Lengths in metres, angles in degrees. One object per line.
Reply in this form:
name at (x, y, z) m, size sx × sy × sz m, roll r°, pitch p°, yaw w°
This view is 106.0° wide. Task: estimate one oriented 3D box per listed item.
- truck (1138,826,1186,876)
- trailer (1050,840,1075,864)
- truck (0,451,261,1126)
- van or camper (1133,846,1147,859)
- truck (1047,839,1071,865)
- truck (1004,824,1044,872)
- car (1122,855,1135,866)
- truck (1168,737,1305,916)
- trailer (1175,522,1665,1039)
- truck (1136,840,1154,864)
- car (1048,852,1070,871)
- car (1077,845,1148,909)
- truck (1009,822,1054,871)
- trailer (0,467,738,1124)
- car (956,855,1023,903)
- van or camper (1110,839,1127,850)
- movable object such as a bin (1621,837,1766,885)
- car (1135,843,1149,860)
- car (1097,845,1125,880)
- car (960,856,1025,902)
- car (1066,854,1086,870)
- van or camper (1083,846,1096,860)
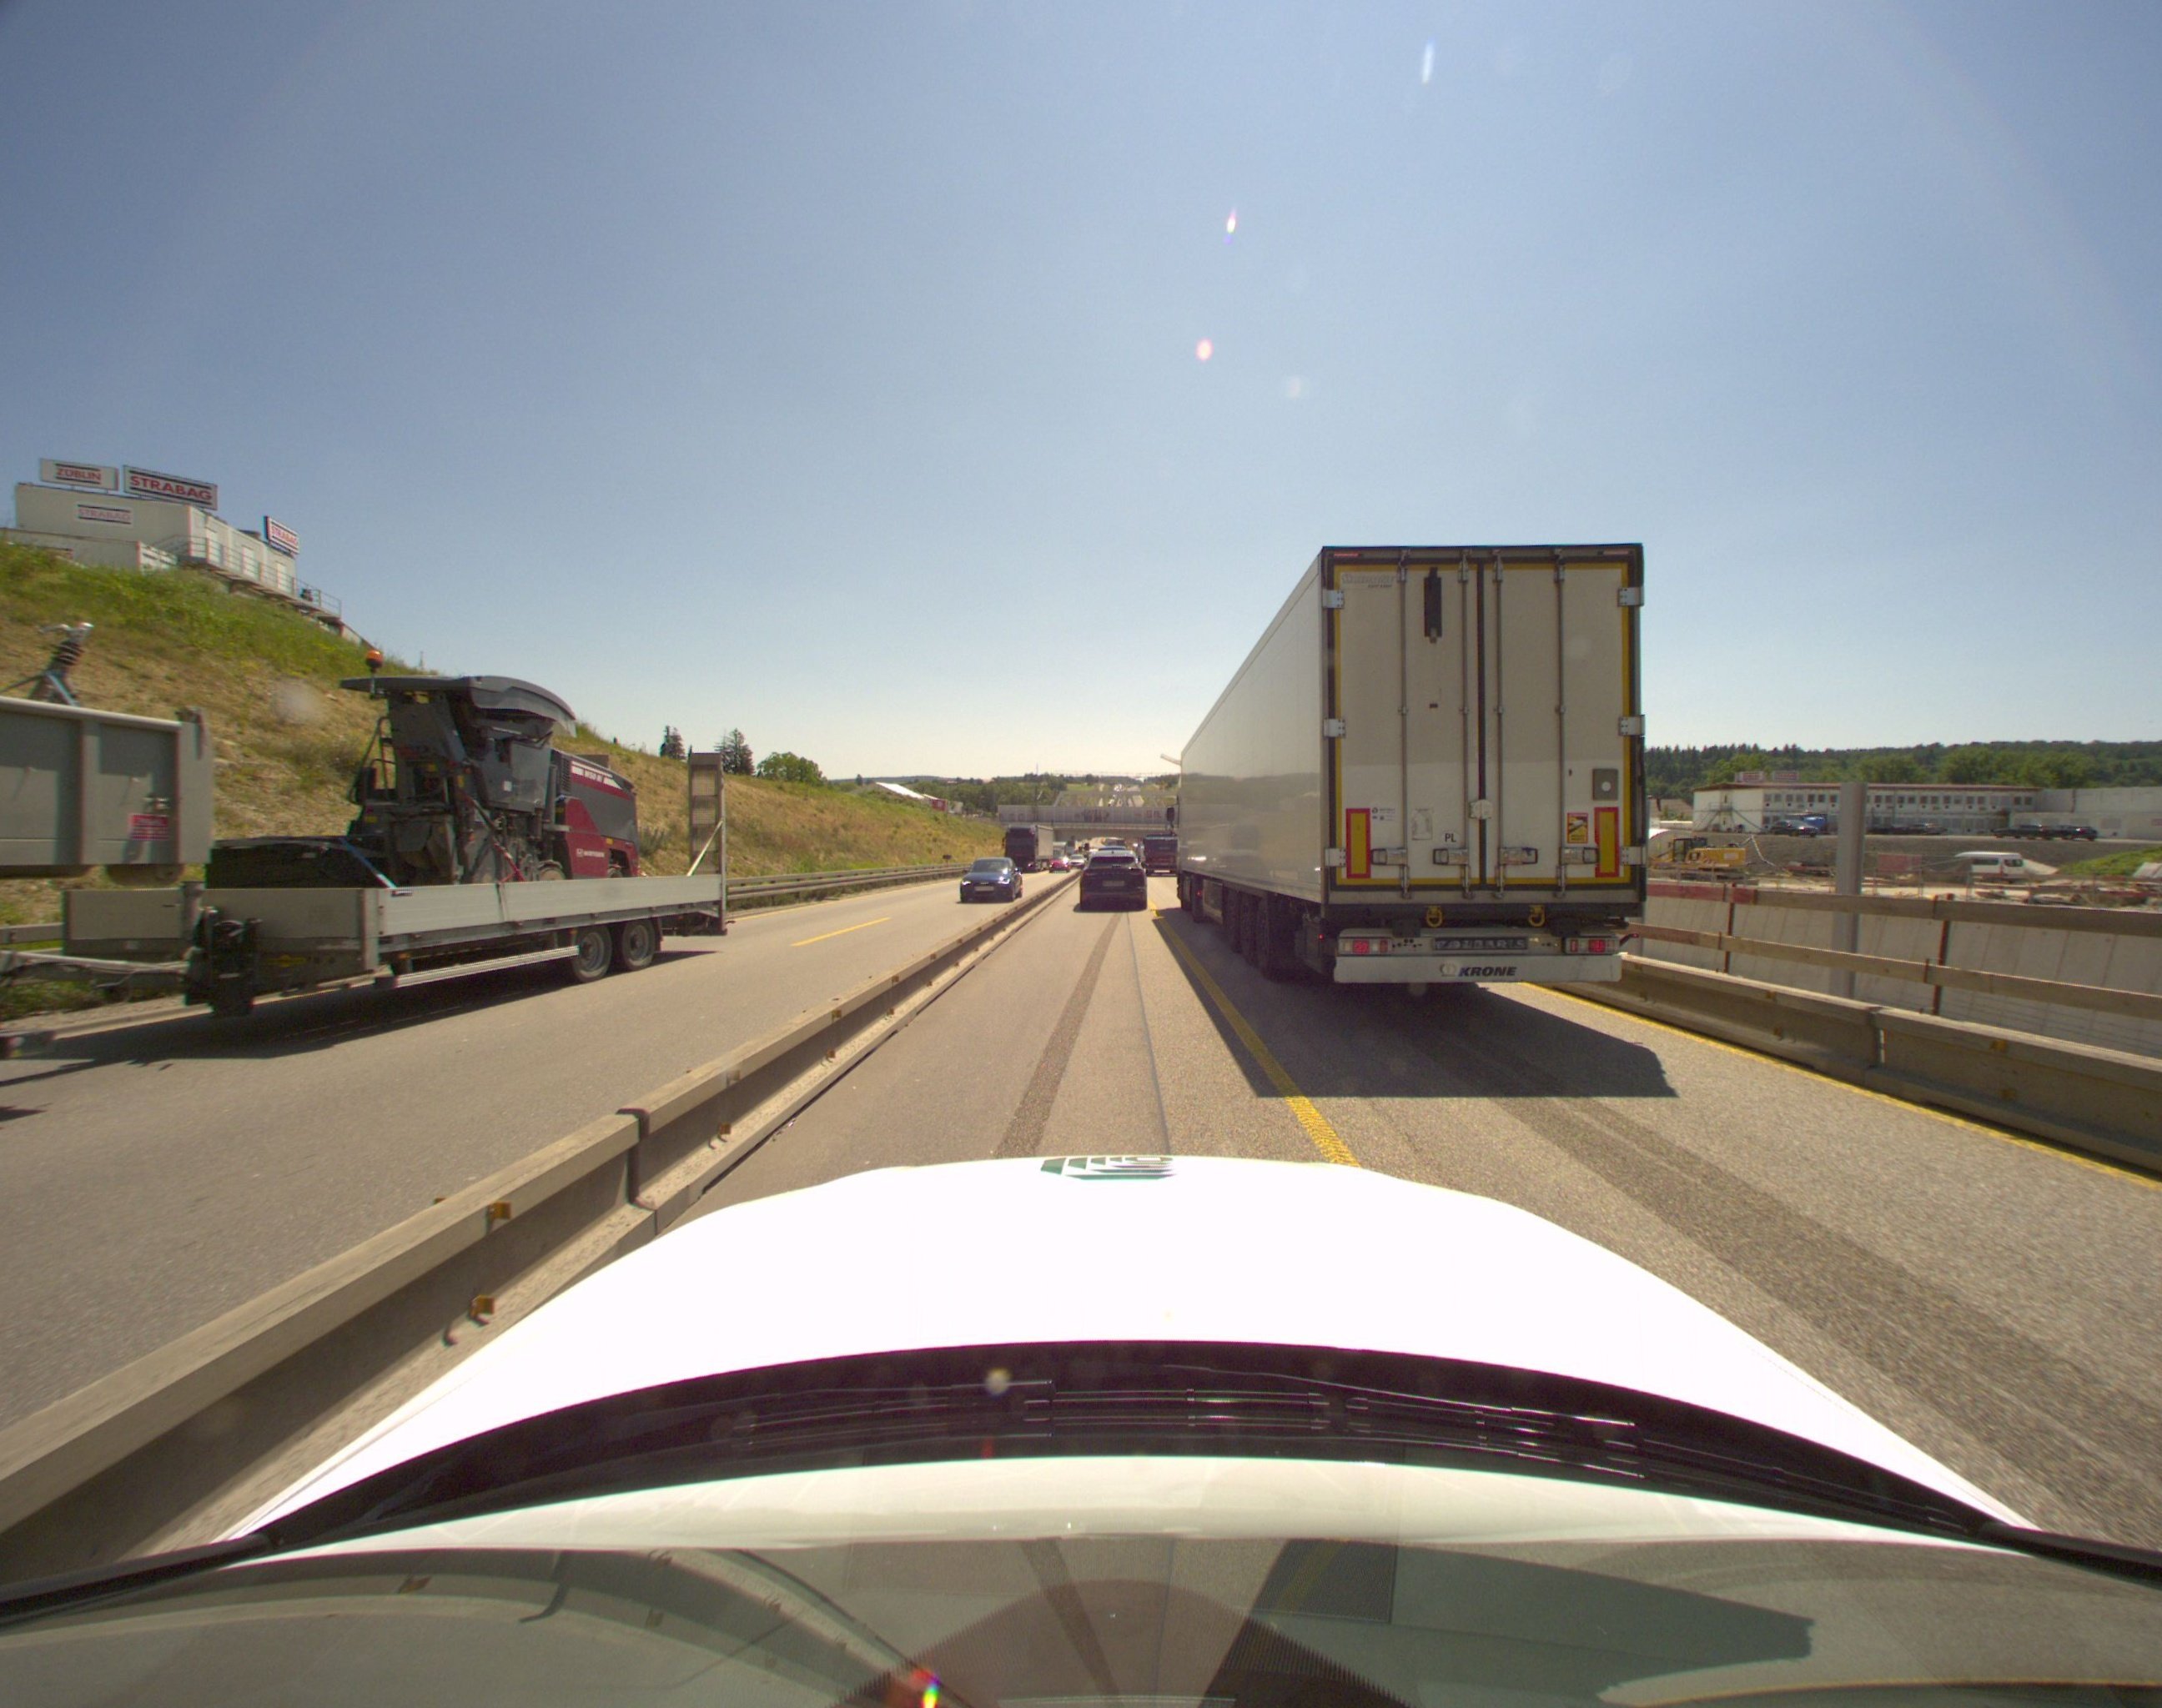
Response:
truck at (5.566, -0.191, 57.980) m, size 2.802 × 3.135 × 12.847 m, roll 0°, pitch 0°, yaw 3°
trailer at (-2.177, -0.221, 101.129) m, size 2.259 × 2.882 × 13.050 m, roll 0°, pitch 0°, yaw 2°
truck at (-7.374, -0.344, 1.218) m, size 2.577 × 3.723 × 9.337 m, roll -1°, pitch 0°, yaw 2°
van or camper at (16.037, -0.490, 221.785) m, size 3.926 × 3.419 × 8.414 m, roll 0°, pitch 1°, yaw 3°
truck at (-2.484, -0.235, 93.933) m, size 2.259 × 2.882 × 5.855 m, roll 0°, pitch 0°, yaw 2°
truck at (-4.643, -0.477, 67.496) m, size 2.756 × 3.884 × 4.966 m, roll 0°, pitch 0°, yaw 2°
car at (5.743, 0.761, 98.586) m, size 1.486 × 1.330 × 3.244 m, roll 1°, pitch 0°, yaw 1°
truck at (3.801, -0.614, 21.016) m, size 2.766 × 4.058 × 4.907 m, roll 0°, pitch 0°, yaw 2°
trailer at (3.474, -0.571, 13.489) m, size 2.790 × 4.058 × 14.125 m, roll 0°, pitch 0°, yaw 2°
truck at (11.918, -0.420, 152.655) m, size 3.162 × 4.318 × 9.265 m, roll 0°, pitch 0°, yaw 3°
car at (-1.785, 0.623, 67.028) m, size 1.584 × 1.487 × 3.297 m, roll -1°, pitch 0°, yaw 2°
car at (0.880, 0.586, 22.696) m, size 1.793 × 1.620 × 3.299 m, roll -1°, pitch 1°, yaw 2°
truck at (-4.338, -0.596, 74.946) m, size 2.756 × 4.087 × 13.813 m, roll 0°, pitch 0°, yaw 2°
trailer at (-7.101, -0.329, 8.828) m, size 2.577 × 3.637 × 9.083 m, roll -1°, pitch 0°, yaw 2°
car at (-2.905, 0.765, 26.559) m, size 1.678 × 1.430 × 3.850 m, roll -1°, pitch 0°, yaw 1°
van or camper at (11.853, -2.981, 256.313) m, size 3.941 × 3.419 × 8.382 m, roll 0°, pitch 1°, yaw -8°
movable object such as a bin at (40.086, 0.409, 53.827) m, size 2.876 × 2.909 × 9.486 m, roll 0°, pitch 0°, yaw 3°
car at (8.314, -0.310, 111.731) m, size 1.655 × 2.269 × 3.797 m, roll 1°, pitch 0°, yaw 1°
car at (1.649, 0.448, 44.357) m, size 1.469 × 1.795 × 3.300 m, roll -1°, pitch 0°, yaw 3°
car at (-2.865, 0.781, 27.127) m, size 1.683 × 1.403 × 3.687 m, roll -1°, pitch 0°, yaw 1°
car at (-0.446, 0.806, 83.182) m, size 1.819 × 1.487 × 4.198 m, roll -1°, pitch 0°, yaw 2°
van or camper at (1.542, -0.185, 147.775) m, size 2.206 × 2.481 × 4.755 m, roll 0°, pitch 0°, yaw 4°
